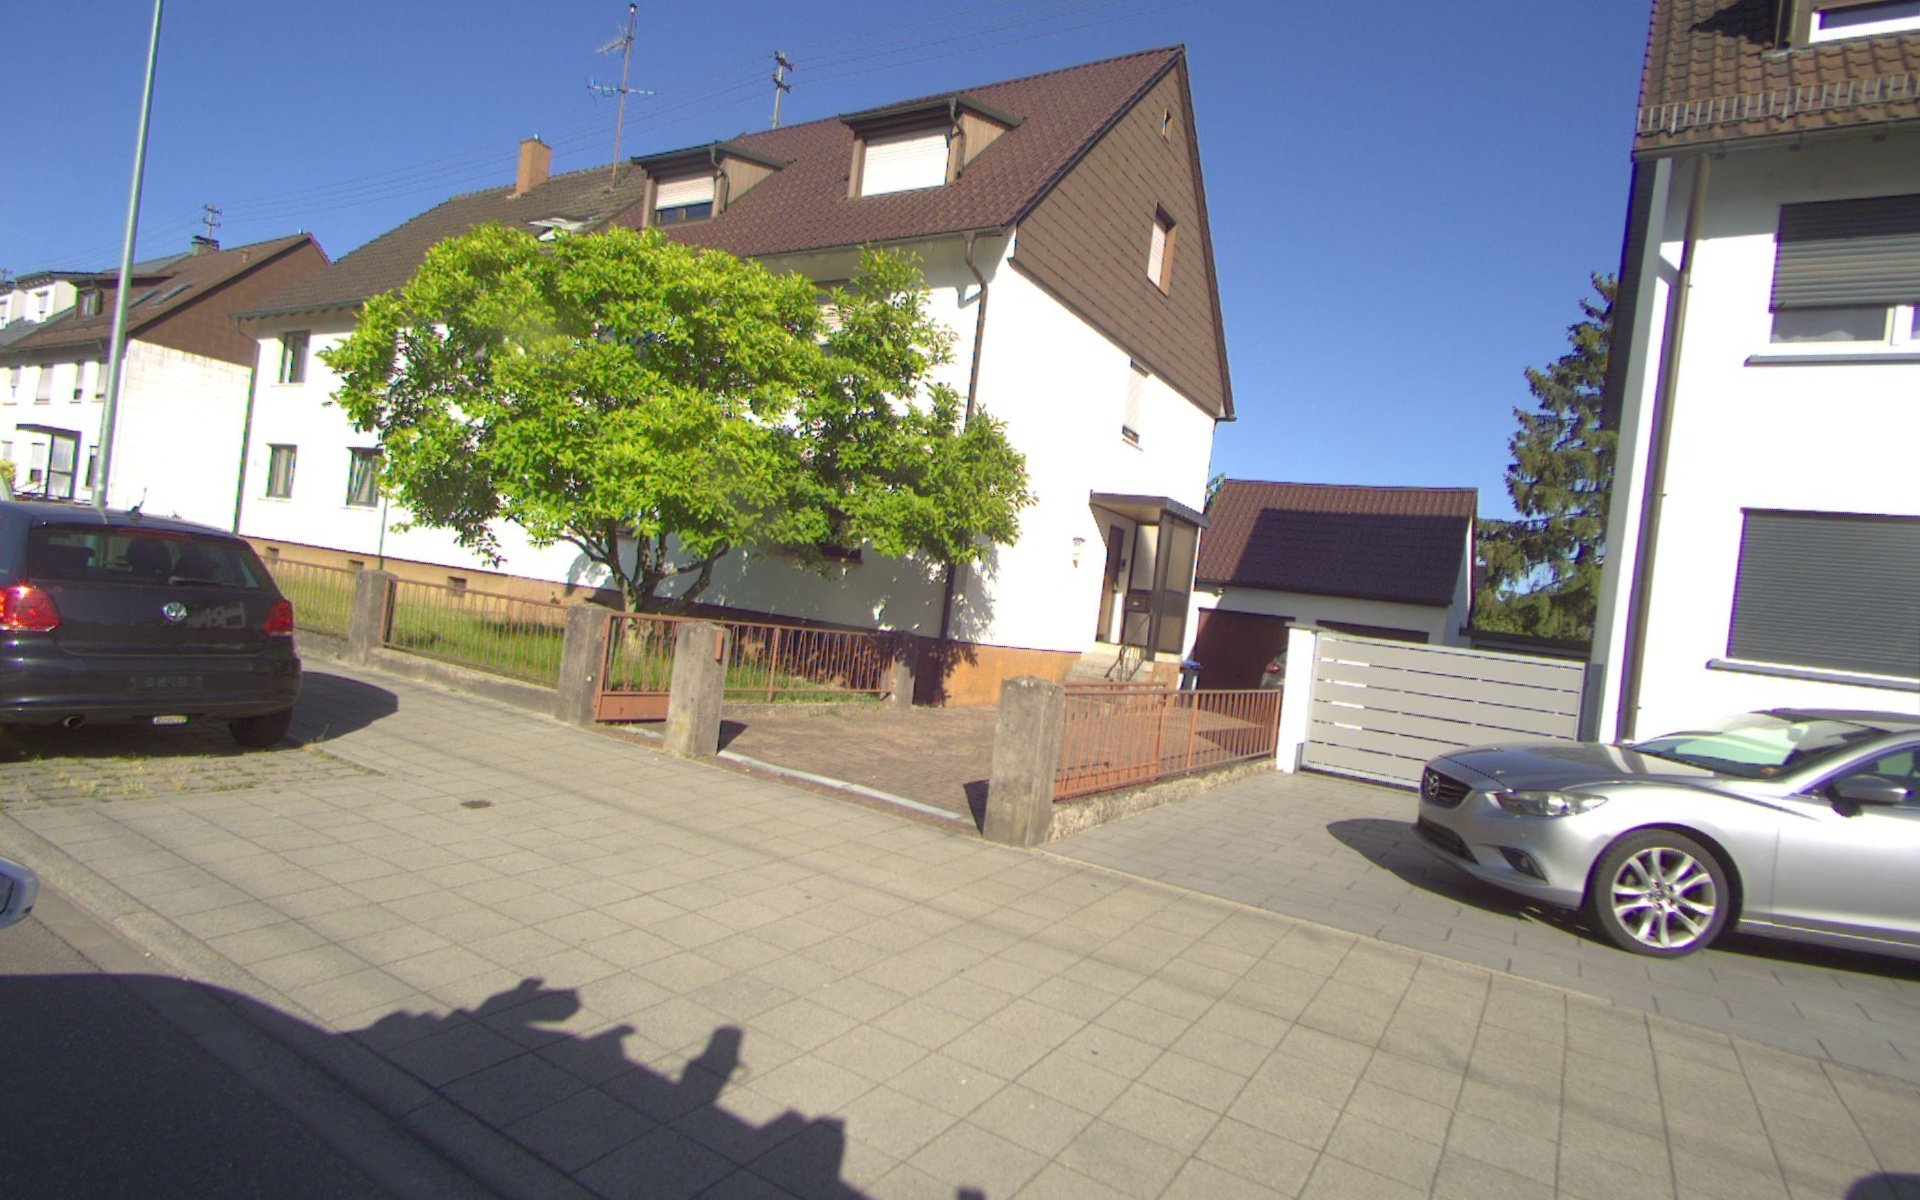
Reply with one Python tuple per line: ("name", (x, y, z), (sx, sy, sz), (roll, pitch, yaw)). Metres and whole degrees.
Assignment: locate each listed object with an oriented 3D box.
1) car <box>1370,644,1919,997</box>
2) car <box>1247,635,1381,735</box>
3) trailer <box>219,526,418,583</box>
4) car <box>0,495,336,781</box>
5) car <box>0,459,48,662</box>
("car", (5.313, 1.327, 6.037), (4.789, 1.463, 2.000), (7, 1, 7))
("car", (7.076, 1.660, 19.875), (1.729, 1.566, 3.727), (7, -1, 30))
("trailer", (-19.337, -1.334, 30.571), (1.618, 1.041, 4.808), (7, -1, 35))
("car", (-6.235, 0.063, 6.870), (4.058, 1.471, 1.672), (6, 0, 33))
("car", (-10.755, -0.626, 9.705), (4.579, 1.798, 1.691), (7, 0, 33))
